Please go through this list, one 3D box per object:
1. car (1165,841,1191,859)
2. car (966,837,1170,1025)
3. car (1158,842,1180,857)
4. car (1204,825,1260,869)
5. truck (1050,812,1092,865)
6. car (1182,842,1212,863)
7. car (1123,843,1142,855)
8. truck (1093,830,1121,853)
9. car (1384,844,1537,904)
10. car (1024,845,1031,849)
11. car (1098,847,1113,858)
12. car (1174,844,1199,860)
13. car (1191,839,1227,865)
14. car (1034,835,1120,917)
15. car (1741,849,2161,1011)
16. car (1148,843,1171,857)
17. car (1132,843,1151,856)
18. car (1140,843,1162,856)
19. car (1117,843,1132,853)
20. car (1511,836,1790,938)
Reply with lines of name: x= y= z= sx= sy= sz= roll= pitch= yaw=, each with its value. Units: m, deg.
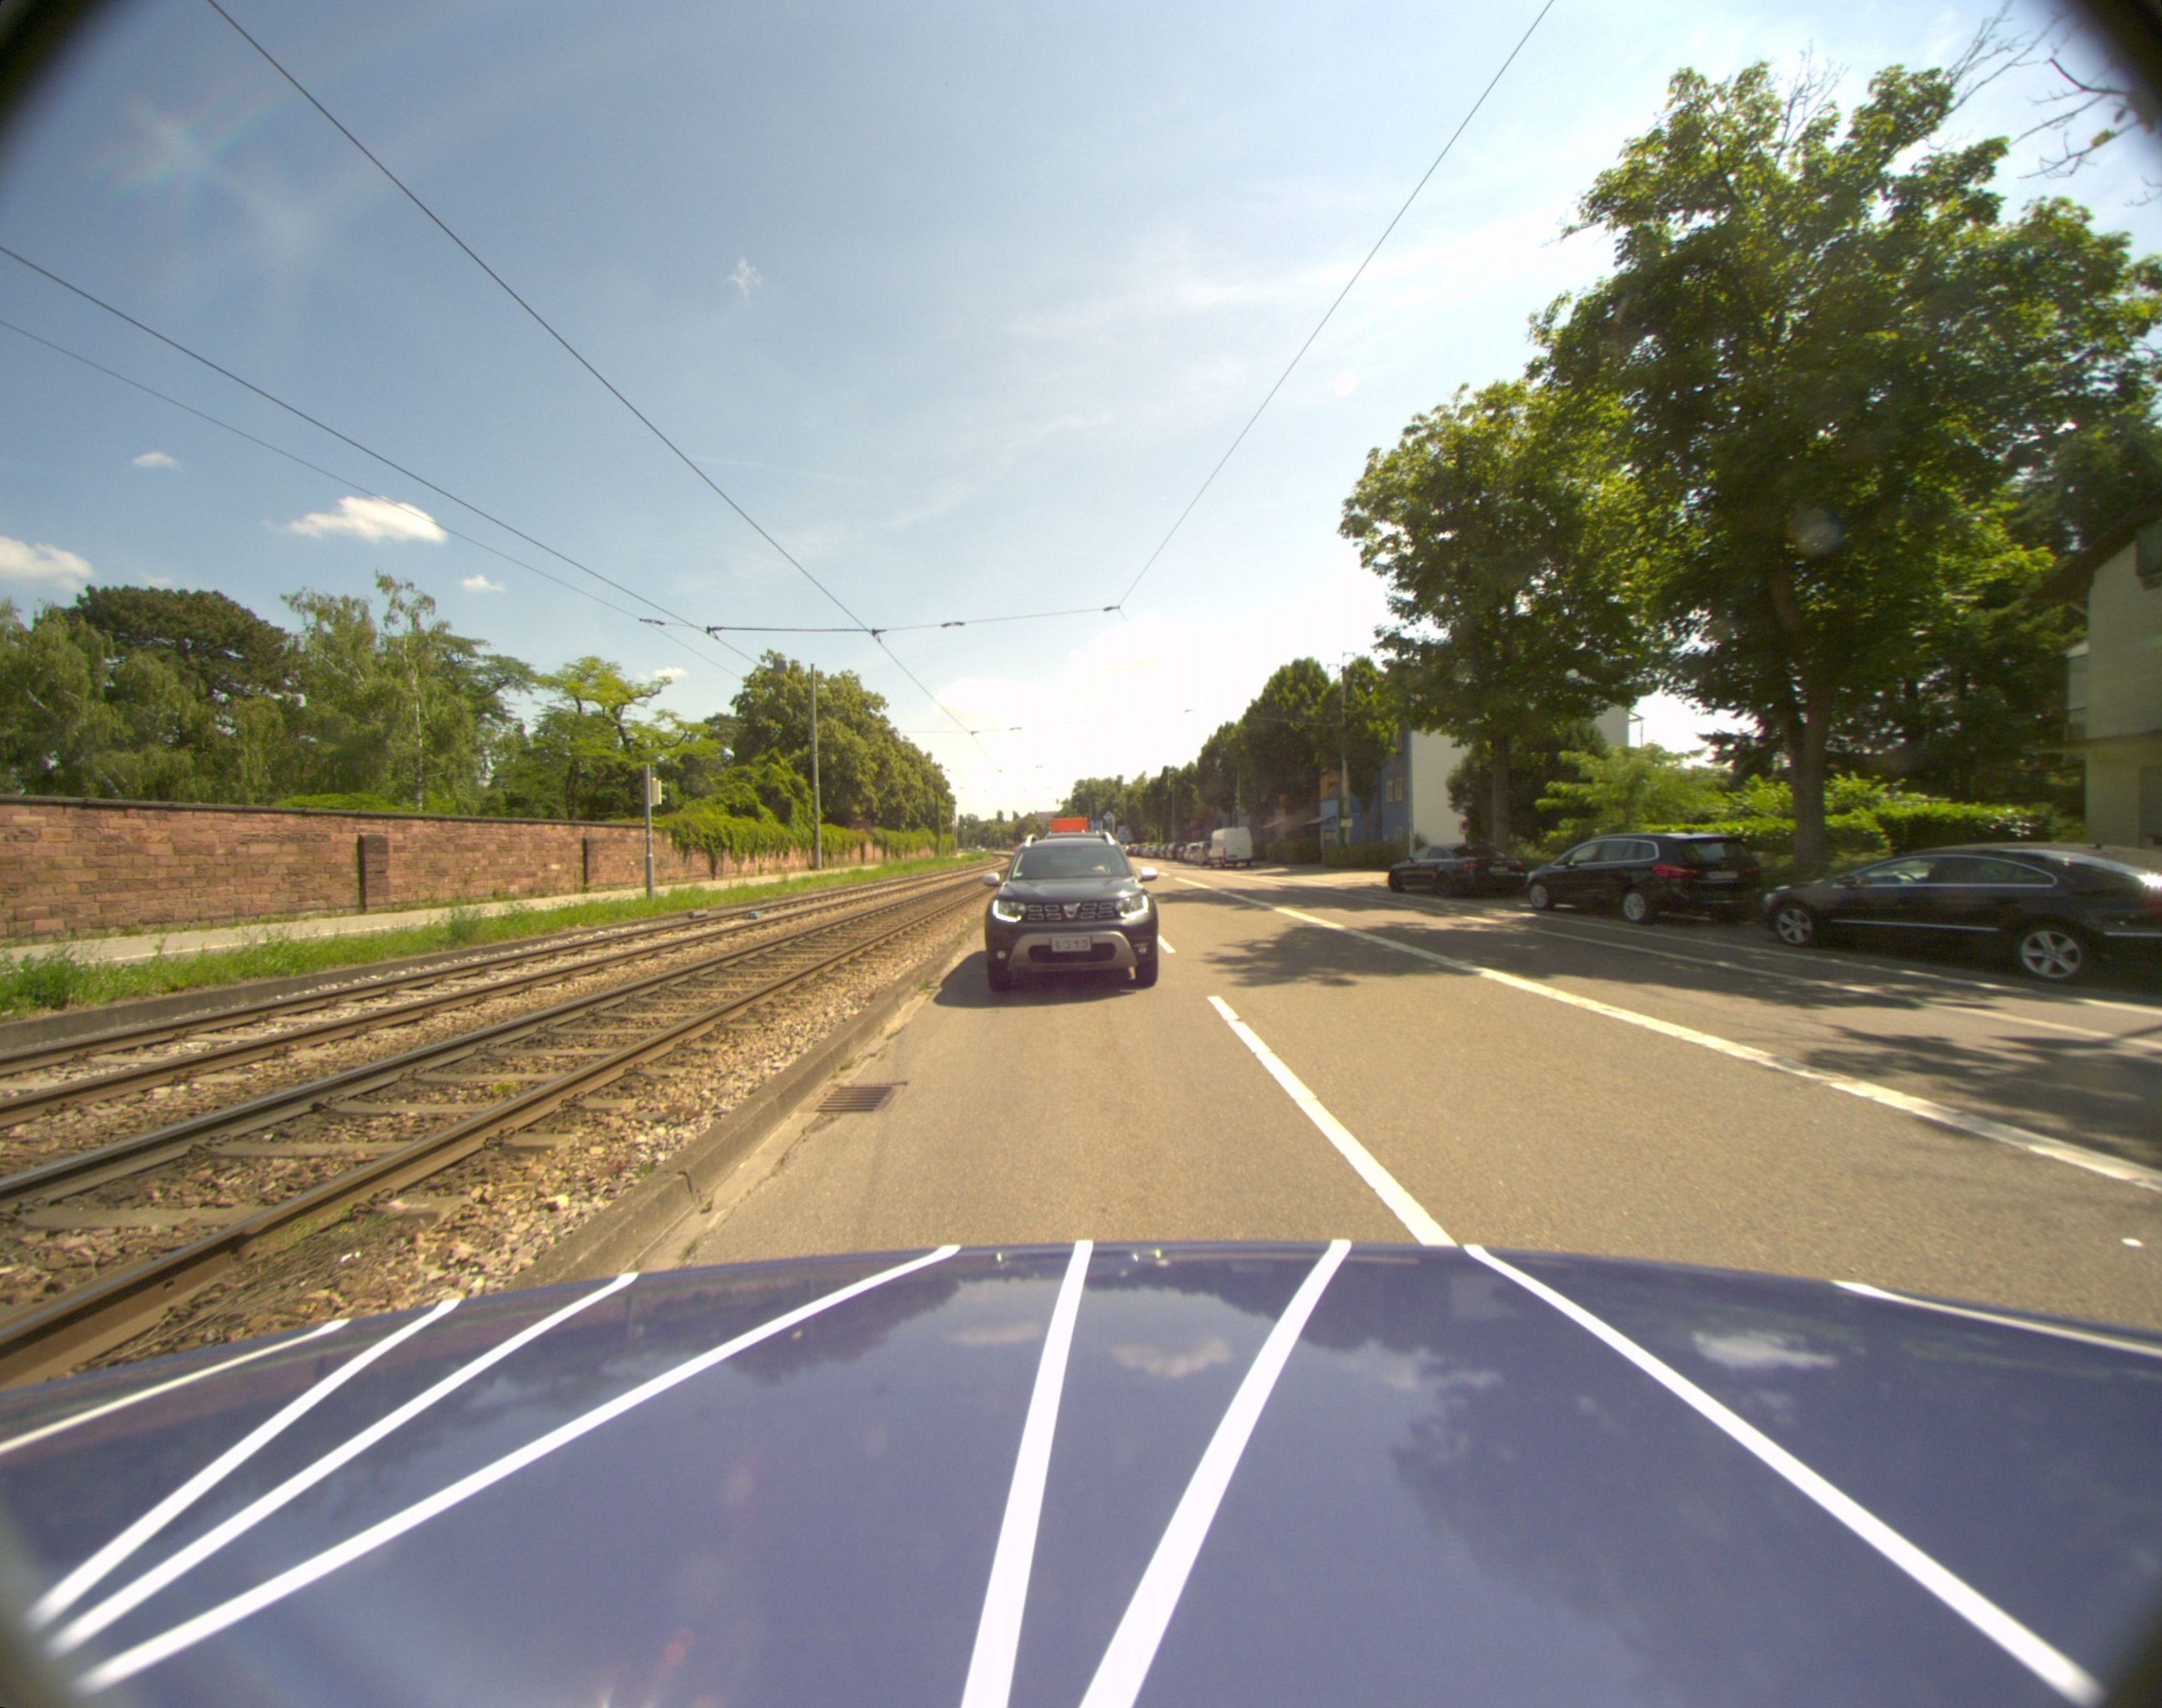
car: x=9.761 y=-0.419 z=77.005 sx=1.756 sy=1.706 sz=4.885 roll=-1 pitch=1 yaw=-3
car: x=-0.158 y=0.659 z=9.382 sx=1.802 sy=1.652 sz=4.786 roll=-2 pitch=1 yaw=-1
car: x=9.532 y=-0.489 z=82.477 sx=1.660 sy=1.608 sz=4.283 roll=0 pitch=1 yaw=-4
car: x=10.395 y=-0.506 z=52.843 sx=2.329 sy=2.636 sz=7.034 roll=-5 pitch=1 yaw=0
truck: x=-0.630 y=-1.144 z=56.837 sx=2.845 sy=3.575 sz=8.704 roll=-1 pitch=1 yaw=1
car: x=10.111 y=-0.194 z=66.562 sx=1.721 sy=1.742 sz=4.902 roll=-1 pitch=1 yaw=-1
car: x=7.114 y=-0.673 z=105.682 sx=1.661 sy=1.600 sz=4.170 roll=-1 pitch=1 yaw=-9
truck: x=4.228 y=-2.085 z=125.813 sx=2.840 sy=3.528 sz=8.163 roll=-3 pitch=1 yaw=-9
car: x=10.416 y=0.475 z=21.325 sx=1.779 sy=1.447 sz=4.802 roll=-1 pitch=1 yaw=-2
car: x=-18.063 y=-2.339 z=257.851 sx=2.000 sy=1.379 sz=3.997 roll=-1 pitch=1 yaw=-8
car: x=3.073 y=-0.208 z=97.062 sx=1.682 sy=1.390 sz=4.004 roll=1 pitch=1 yaw=-2
car: x=10.022 y=-0.213 z=72.167 sx=1.603 sy=1.462 sz=4.086 roll=-1 pitch=1 yaw=-3
car: x=10.190 y=-0.194 z=60.740 sx=1.811 sy=1.884 sz=5.361 roll=-3 pitch=1 yaw=-1
car: x=-0.124 y=0.436 z=18.451 sx=1.802 sy=1.683 sz=4.143 roll=-2 pitch=1 yaw=-1
car: x=10.700 y=0.688 z=8.868 sx=1.779 sy=1.365 sz=4.695 roll=-3 pitch=1 yaw=-2
car: x=9.060 y=-0.494 z=88.308 sx=1.746 sy=1.438 sz=4.961 roll=-3 pitch=1 yaw=-5
car: x=7.926 y=-0.599 z=99.916 sx=1.660 sy=1.600 sz=4.684 roll=-3 pitch=1 yaw=-6
car: x=8.665 y=-0.604 z=94.624 sx=1.660 sy=1.500 sz=4.892 roll=-4 pitch=2 yaw=-6
car: x=6.531 y=-0.947 z=114.125 sx=1.660 sy=1.403 sz=4.394 roll=-1 pitch=1 yaw=-5
car: x=10.570 y=0.499 z=14.661 sx=1.779 sy=1.595 sz=4.636 roll=-2 pitch=1 yaw=-2
